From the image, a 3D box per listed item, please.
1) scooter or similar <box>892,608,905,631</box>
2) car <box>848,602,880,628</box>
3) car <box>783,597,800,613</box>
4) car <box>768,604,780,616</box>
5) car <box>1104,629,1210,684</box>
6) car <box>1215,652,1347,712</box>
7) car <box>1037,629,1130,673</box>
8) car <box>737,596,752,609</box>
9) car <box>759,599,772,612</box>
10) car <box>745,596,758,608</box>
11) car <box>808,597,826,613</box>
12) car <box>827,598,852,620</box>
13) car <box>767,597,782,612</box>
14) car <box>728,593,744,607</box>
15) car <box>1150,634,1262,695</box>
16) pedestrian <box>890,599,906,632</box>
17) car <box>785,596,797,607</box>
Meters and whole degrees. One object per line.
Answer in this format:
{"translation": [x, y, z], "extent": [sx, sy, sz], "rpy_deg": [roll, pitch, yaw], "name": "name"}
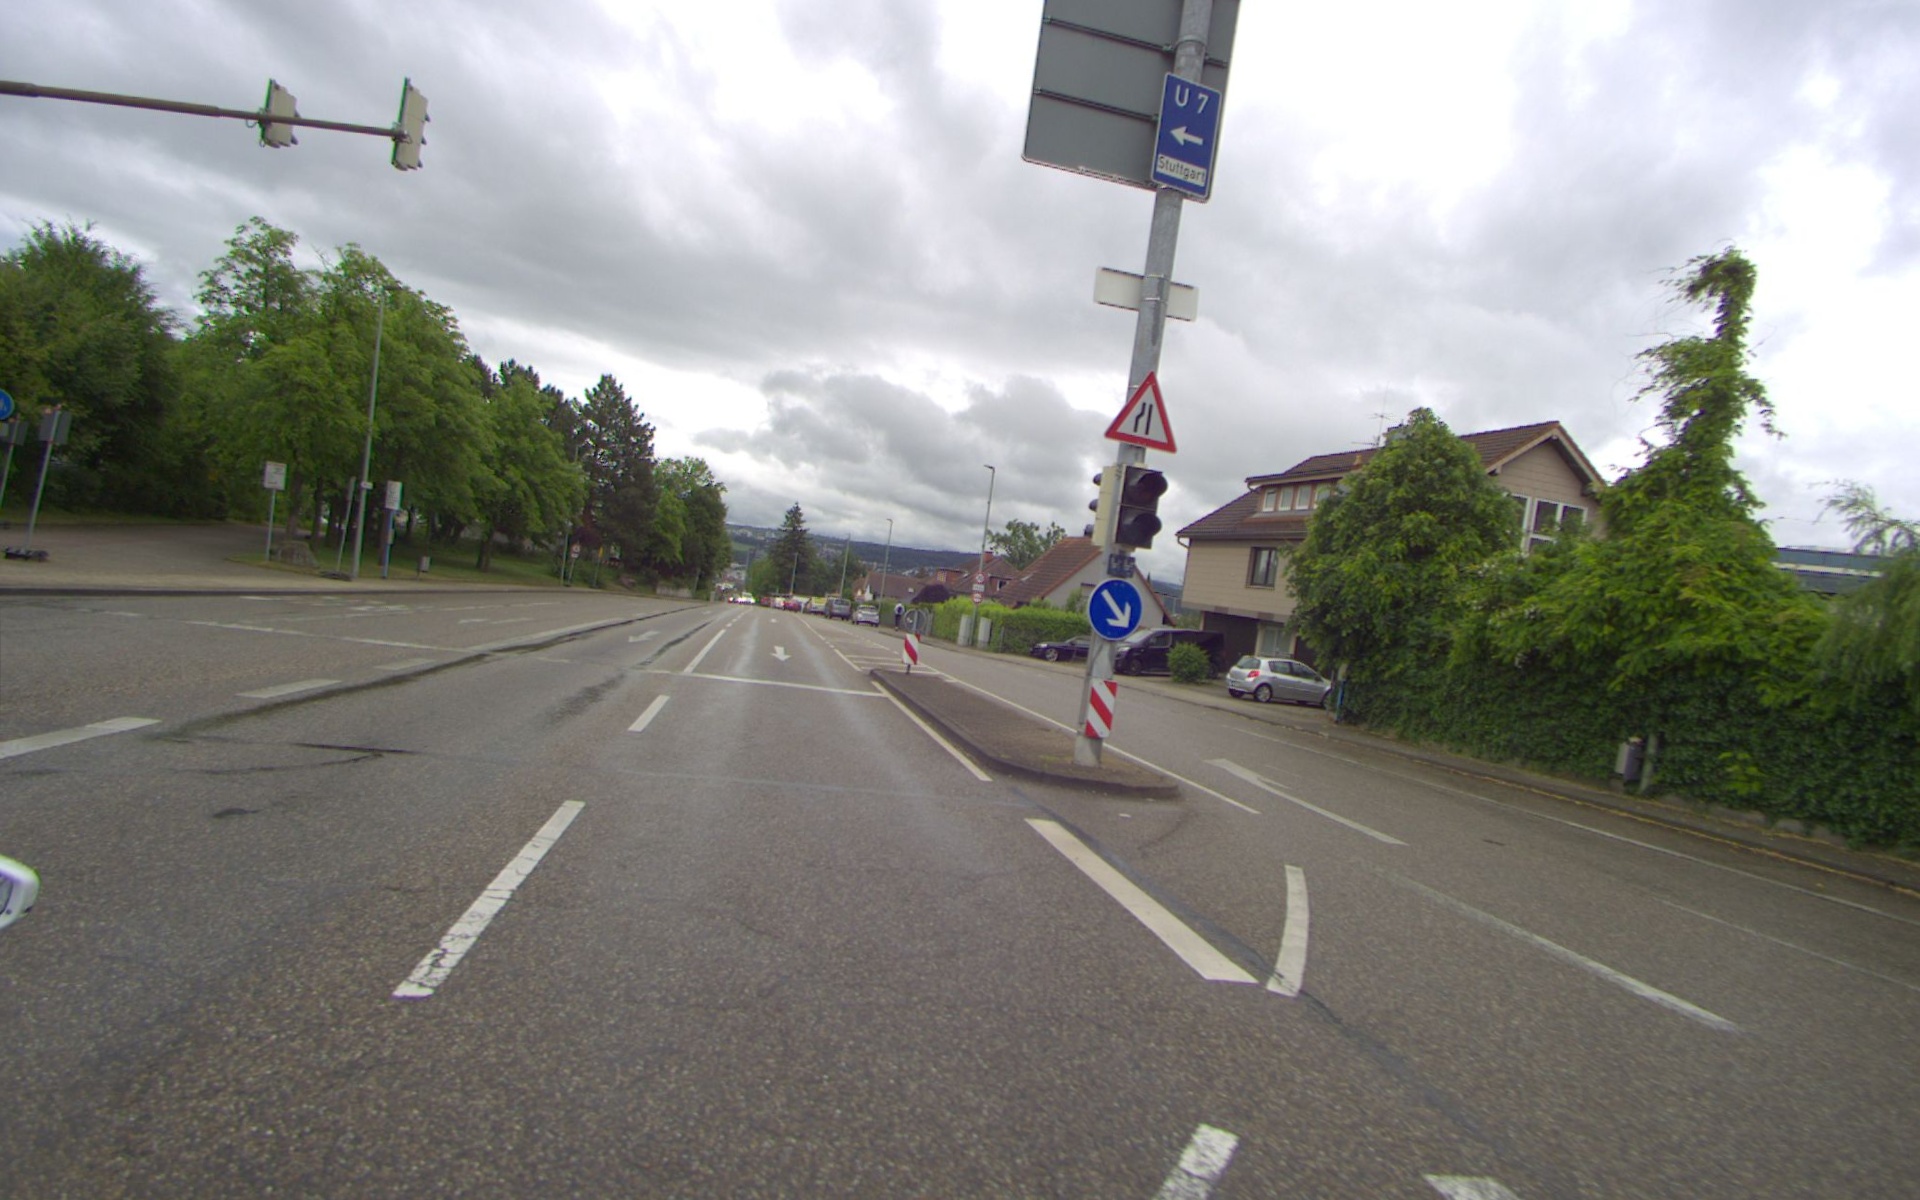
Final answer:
{"translation": [-4.006, 1.279, 65.456], "extent": [0.455, 1.377, 1.381], "rpy_deg": [8, 0, -14], "name": "scooter or similar"}
{"translation": [-7.233, 1.109, 75.421], "extent": [1.827, 1.592, 3.992], "rpy_deg": [9, -1, -10], "name": "car"}
{"translation": [-19.357, 0.585, 115.656], "extent": [1.731, 1.593, 3.992], "rpy_deg": [8, -1, -10], "name": "car"}
{"translation": [-30.709, 1.605, 166.447], "extent": [1.715, 1.593, 3.992], "rpy_deg": [8, -1, -10], "name": "car"}
{"translation": [7.867, 2.261, 40.300], "extent": [3.583, 1.646, 1.786], "rpy_deg": [8, 0, -15], "name": "car"}
{"translation": [10.438, 2.657, 32.721], "extent": [3.672, 1.411, 1.723], "rpy_deg": [8, -2, -18], "name": "car"}
{"translation": [5.464, 2.258, 44.686], "extent": [3.642, 1.385, 1.516], "rpy_deg": [9, -2, -12], "name": "car"}
{"translation": [-32.510, 0.334, 151.704], "extent": [1.820, 1.737, 3.993], "rpy_deg": [8, -1, -10], "name": "car"}
{"translation": [-30.692, 0.854, 158.503], "extent": [1.774, 1.804, 3.992], "rpy_deg": [8, -1, -11], "name": "car"}
{"translation": [-36.904, 0.329, 178.031], "extent": [1.862, 1.815, 3.992], "rpy_deg": [8, -1, -10], "name": "car"}
{"translation": [-16.708, 0.594, 117.571], "extent": [1.826, 1.593, 3.992], "rpy_deg": [8, -1, -10], "name": "car"}
{"translation": [-11.177, 0.820, 93.059], "extent": [1.826, 1.593, 3.991], "rpy_deg": [8, 0, -10], "name": "car"}
{"translation": [-23.877, 0.555, 129.494], "extent": [1.715, 1.593, 3.992], "rpy_deg": [8, -1, -10], "name": "car"}
{"translation": [-31.782, -0.021, 143.071], "extent": [1.820, 1.737, 3.993], "rpy_deg": [8, -1, -10], "name": "car"}
{"translation": [9.292, 2.435, 38.052], "extent": [3.583, 1.767, 1.703], "rpy_deg": [8, 0, -15], "name": "car"}
{"translation": [-4.031, 1.025, 65.427], "extent": [0.647, 2.026, 0.716], "rpy_deg": [8, 0, -14], "name": "pedestrian"}
{"translation": [-29.063, 0.204, 172.999], "extent": [1.826, 1.593, 3.992], "rpy_deg": [8, -1, -10], "name": "car"}
